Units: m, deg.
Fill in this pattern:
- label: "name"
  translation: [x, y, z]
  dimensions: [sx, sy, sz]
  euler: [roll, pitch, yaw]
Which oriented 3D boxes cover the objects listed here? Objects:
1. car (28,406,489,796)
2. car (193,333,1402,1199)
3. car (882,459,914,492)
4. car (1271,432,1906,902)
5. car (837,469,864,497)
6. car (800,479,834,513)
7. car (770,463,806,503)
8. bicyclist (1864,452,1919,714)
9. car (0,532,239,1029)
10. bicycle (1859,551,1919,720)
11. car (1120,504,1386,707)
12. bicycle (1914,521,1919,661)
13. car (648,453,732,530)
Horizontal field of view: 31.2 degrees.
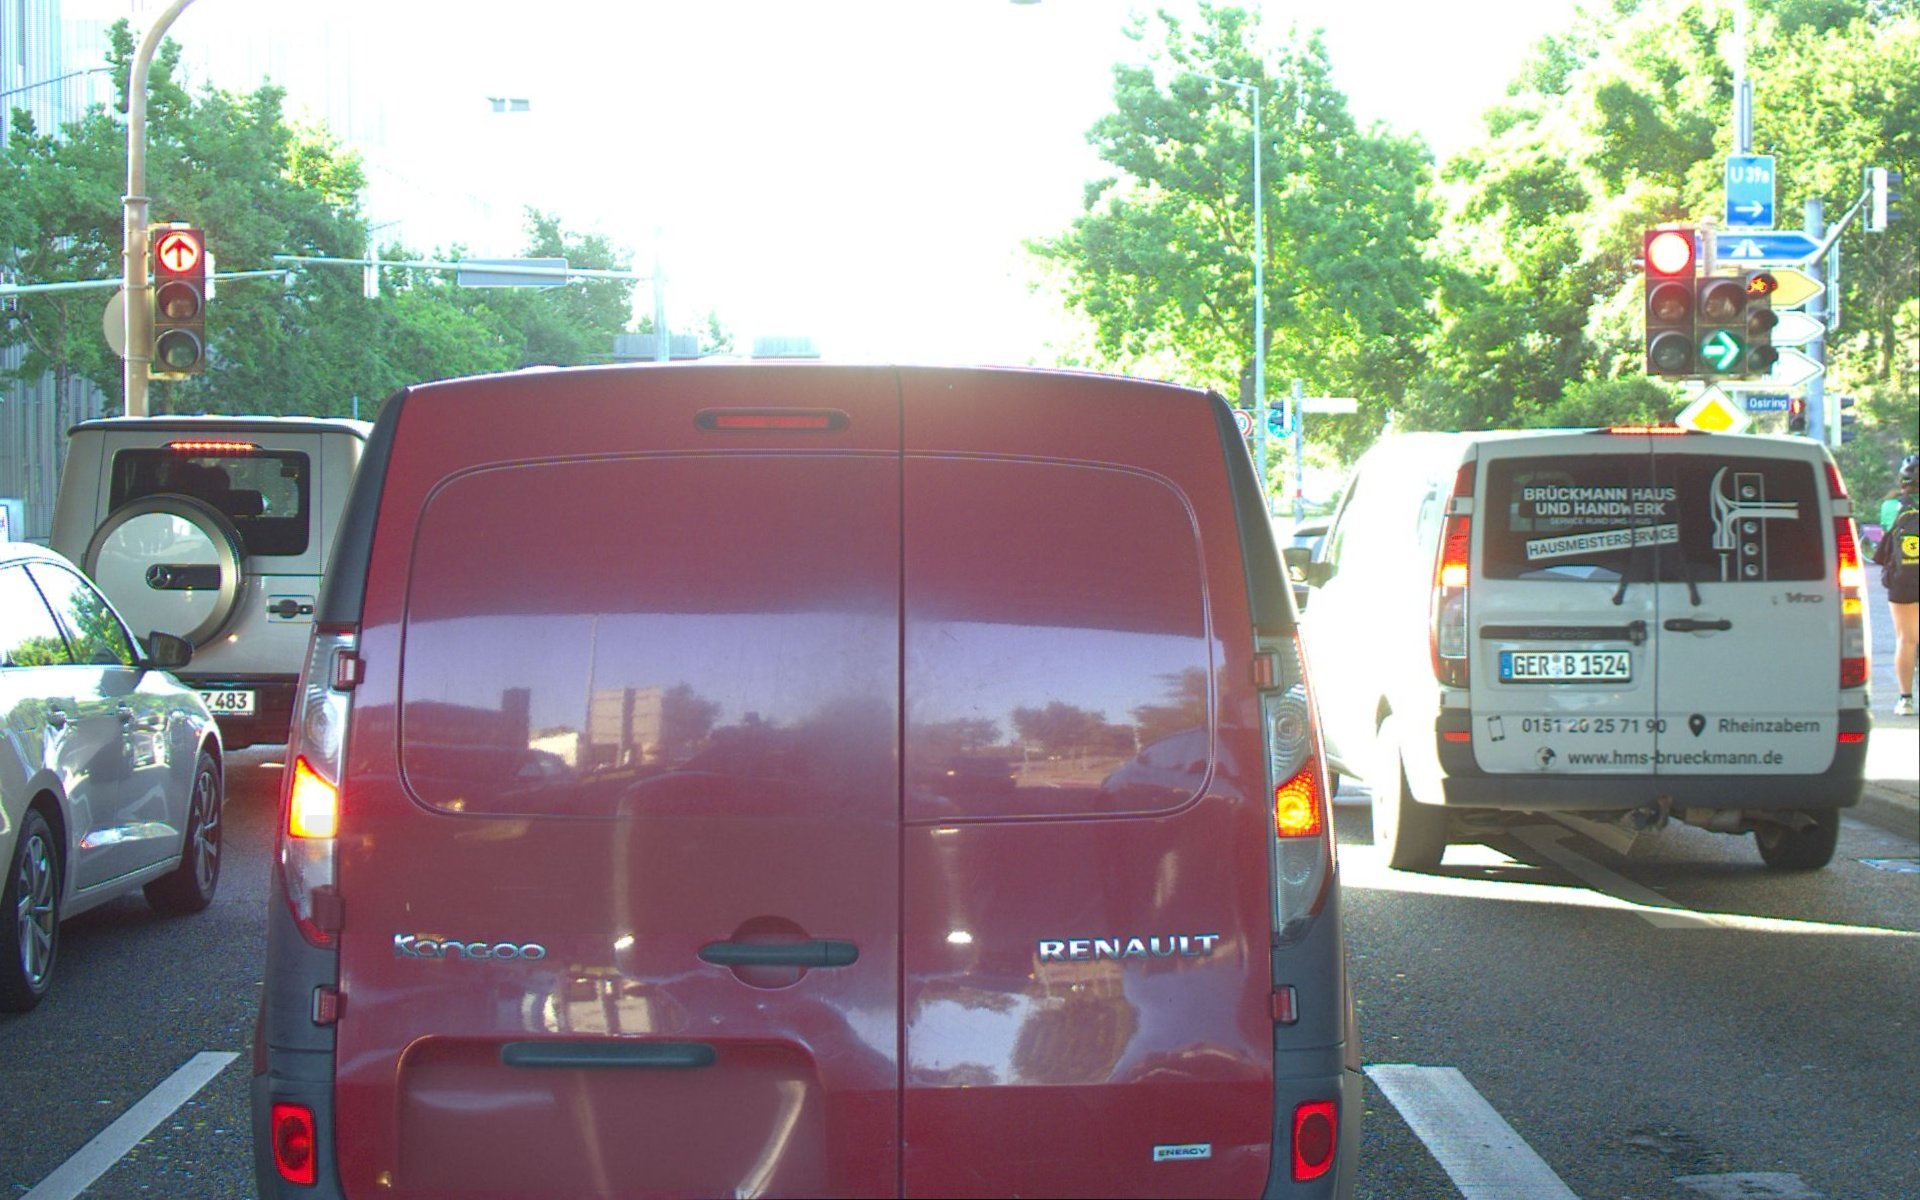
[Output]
- label: "car"
  translation: [-3.711, -0.031, 18.819]
  dimensions: [1.813, 1.897, 3.814]
  euler: [1, 1, -1]
- label: "car"
  translation: [-0.259, 0.467, 6.936]
  dimensions: [1.719, 1.758, 4.000]
  euler: [1, 1, -1]
- label: "car"
  translation: [-3.940, -7.968, 220.605]
  dimensions: [1.993, 2.007, 4.000]
  euler: [1, 1, -1]
- label: "car"
  translation: [2.694, 0.200, 15.957]
  dimensions: [1.897, 1.830, 4.836]
  euler: [1, 2, -2]
- label: "car"
  translation: [-8.227, -8.793, 259.181]
  dimensions: [1.929, 2.007, 3.914]
  euler: [1, 1, -1]
- label: "car"
  translation: [-8.984, -6.560, 216.807]
  dimensions: [1.993, 2.007, 4.000]
  euler: [1, 1, -1]
- label: "car"
  translation: [-9.092, -6.168, 182.002]
  dimensions: [1.748, 2.007, 3.845]
  euler: [1, 1, -1]
- label: "bicyclist"
  translation: [6.090, -0.106, 21.669]
  dimensions: [0.677, 1.623, 0.644]
  euler: [1, 0, 10]
- label: "car"
  translation: [-3.618, 0.477, 11.469]
  dimensions: [1.692, 1.405, 3.814]
  euler: [1, 1, -1]
- label: "bicycle"
  translation: [6.067, 0.213, 21.582]
  dimensions: [0.677, 1.020, 1.528]
  euler: [1, 1, 10]
- label: "car"
  translation: [2.217, 0.001, 26.829]
  dimensions: [1.745, 1.451, 3.717]
  euler: [1, 1, 0]
- label: "bicycle"
  translation: [9.063, -0.068, 27.843]
  dimensions: [2.461, 1.142, 0.768]
  euler: [0, 1, 3]
- label: "car"
  translation: [-7.420, -2.964, 94.802]
  dimensions: [1.993, 2.007, 4.000]
  euler: [1, 1, -1]
